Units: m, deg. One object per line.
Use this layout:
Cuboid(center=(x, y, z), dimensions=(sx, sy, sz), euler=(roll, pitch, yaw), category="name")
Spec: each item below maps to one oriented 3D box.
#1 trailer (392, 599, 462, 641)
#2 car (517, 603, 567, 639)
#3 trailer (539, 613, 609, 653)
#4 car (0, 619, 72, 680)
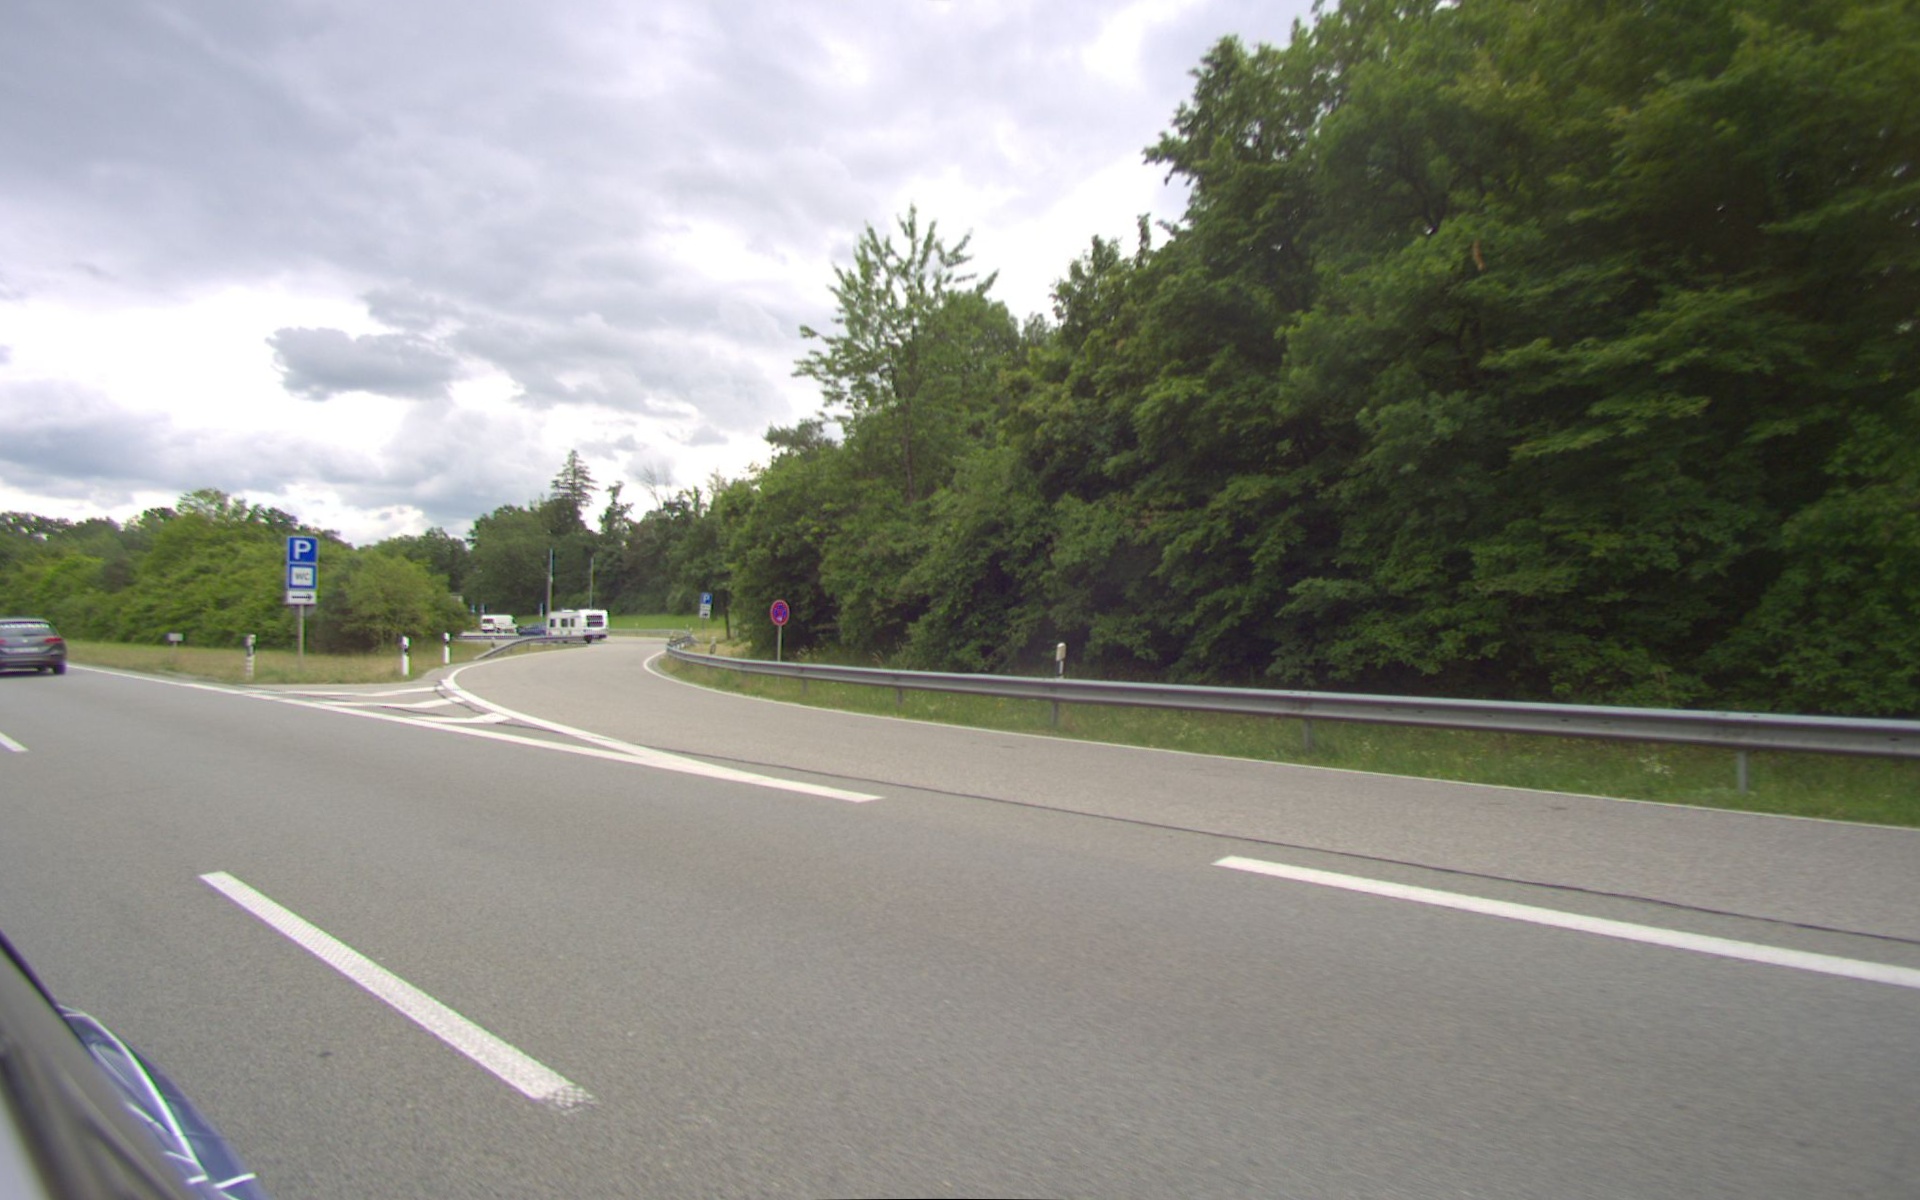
Cuboid(center=(-43.353, 1.573, 82.384), dimensions=(1.999, 3.277, 4.628), euler=(-1, -1, 40), category="trailer")
Cuboid(center=(-35.015, 1.742, 84.717), dimensions=(2.371, 2.984, 4.603), euler=(0, -1, -44), category="car")
Cuboid(center=(-30.721, 2.599, 80.397), dimensions=(2.451, 2.987, 7.398), euler=(0, -1, -45), category="trailer")
Cuboid(center=(-24.868, 1.252, 26.437), dimensions=(4.443, 1.453, 1.790), euler=(-1, -1, 39), category="car")
